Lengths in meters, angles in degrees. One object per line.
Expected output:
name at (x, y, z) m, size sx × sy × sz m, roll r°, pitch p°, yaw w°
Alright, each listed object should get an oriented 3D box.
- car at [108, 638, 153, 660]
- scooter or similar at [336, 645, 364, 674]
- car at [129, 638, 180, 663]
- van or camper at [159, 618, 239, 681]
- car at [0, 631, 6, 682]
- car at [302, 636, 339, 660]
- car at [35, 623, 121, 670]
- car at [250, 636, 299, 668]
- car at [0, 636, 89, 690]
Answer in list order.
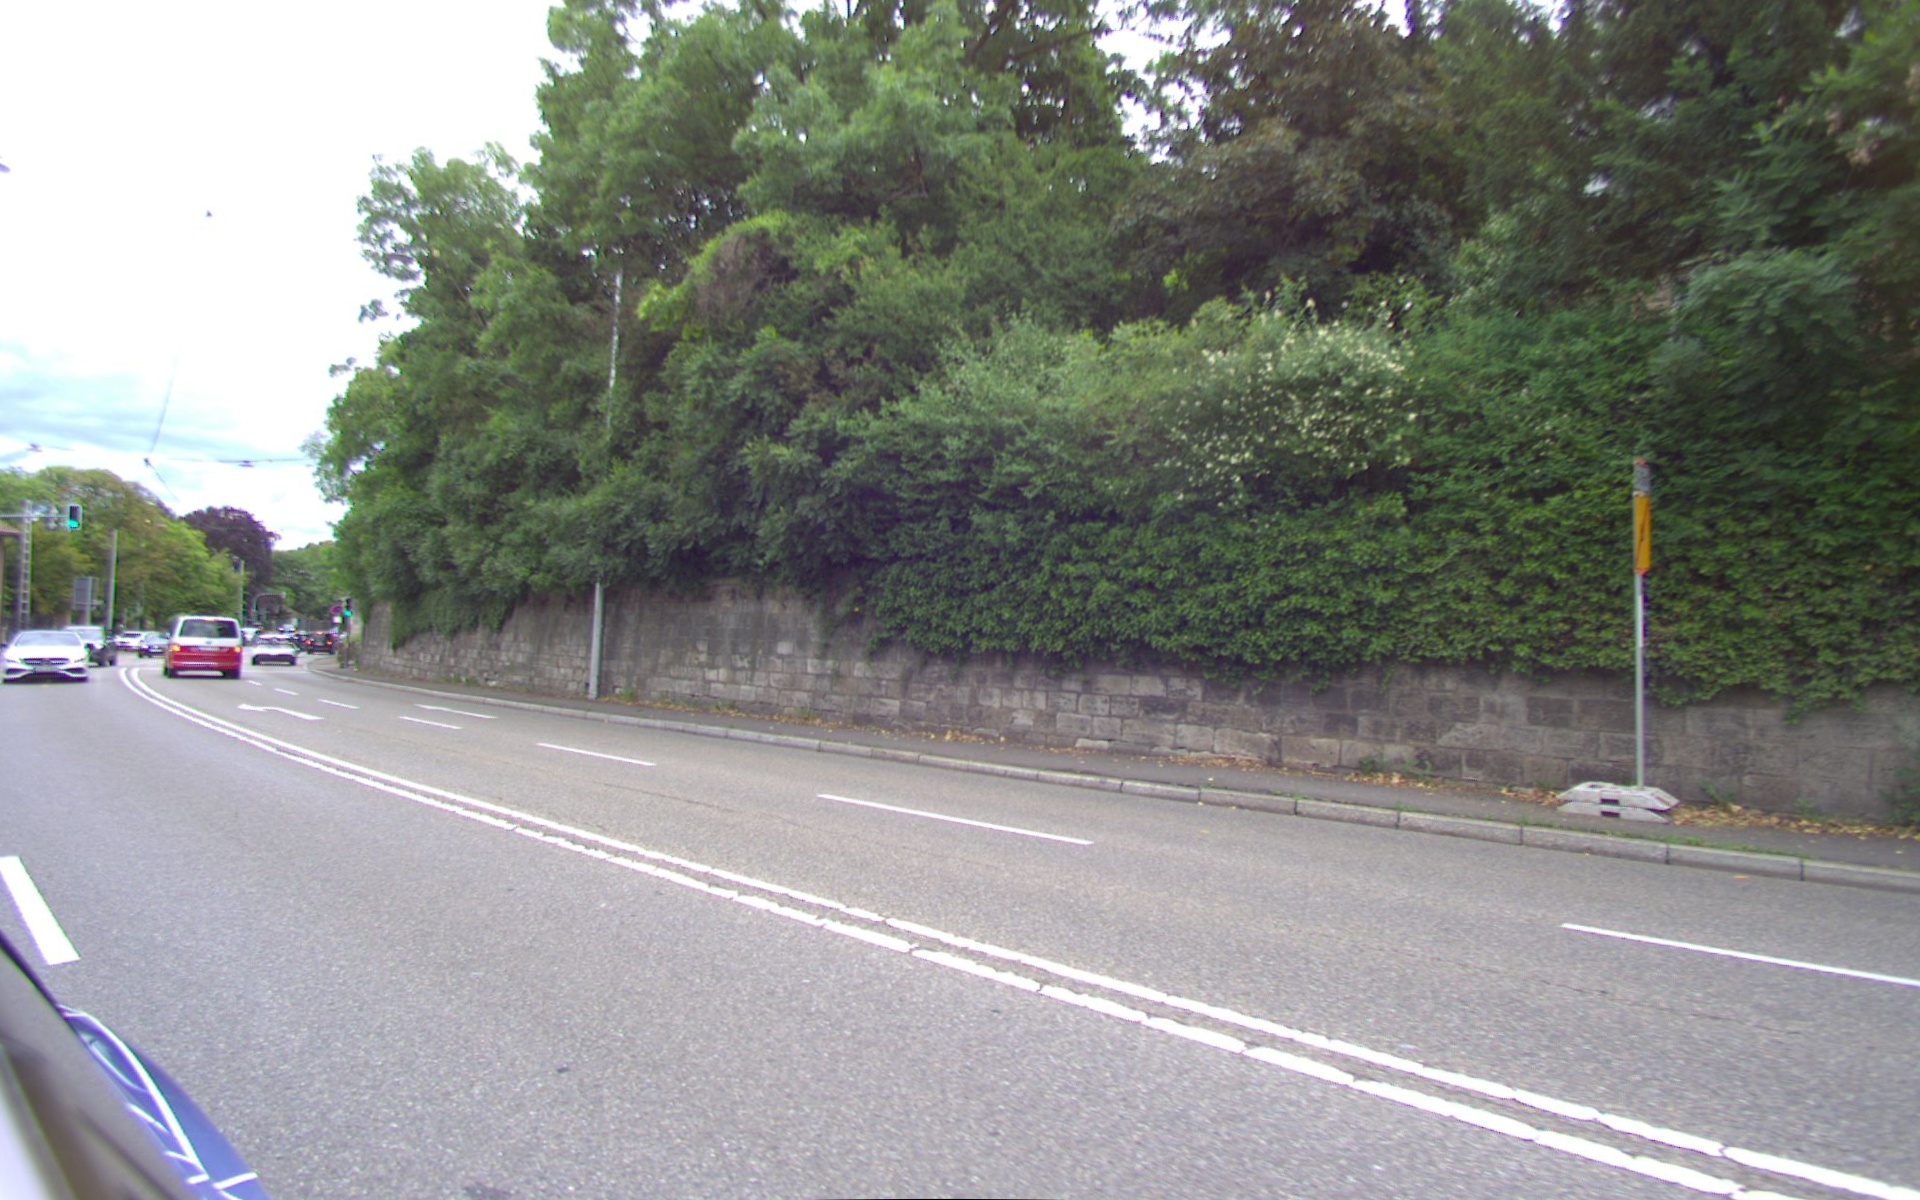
car at (-61.548, 3.629, 75.154) m, size 1.652 × 1.472 × 4.379 m, roll 5°, pitch -4°, yaw -28°
scooter or similar at (-27.784, 2.715, 46.089) m, size 0.430 × 1.247 × 1.094 m, roll -2°, pitch 0°, yaw 11°
car at (-45.598, 2.850, 57.340) m, size 1.805 × 1.387 × 4.011 m, roll 3°, pitch -4°, yaw -33°
van or camper at (-24.825, 1.591, 33.018) m, size 1.865 × 1.893 × 4.775 m, roll 4°, pitch -4°, yaw -37°
car at (-33.179, 1.854, 33.302) m, size 1.927 × 1.785 × 4.010 m, roll 3°, pitch -4°, yaw -35°
car at (-52.006, 3.880, 82.385) m, size 1.719 × 1.860 × 4.262 m, roll 3°, pitch -4°, yaw -22°
car at (-35.504, 1.891, 40.850) m, size 1.926 × 1.753 × 4.011 m, roll 3°, pitch -4°, yaw -32°
car at (-34.513, 2.613, 51.035) m, size 1.758 × 1.478 × 4.112 m, roll 5°, pitch -5°, yaw -32°
car at (-25.261, 1.716, 27.894) m, size 1.776 × 1.401 × 3.533 m, roll 3°, pitch -4°, yaw -40°
